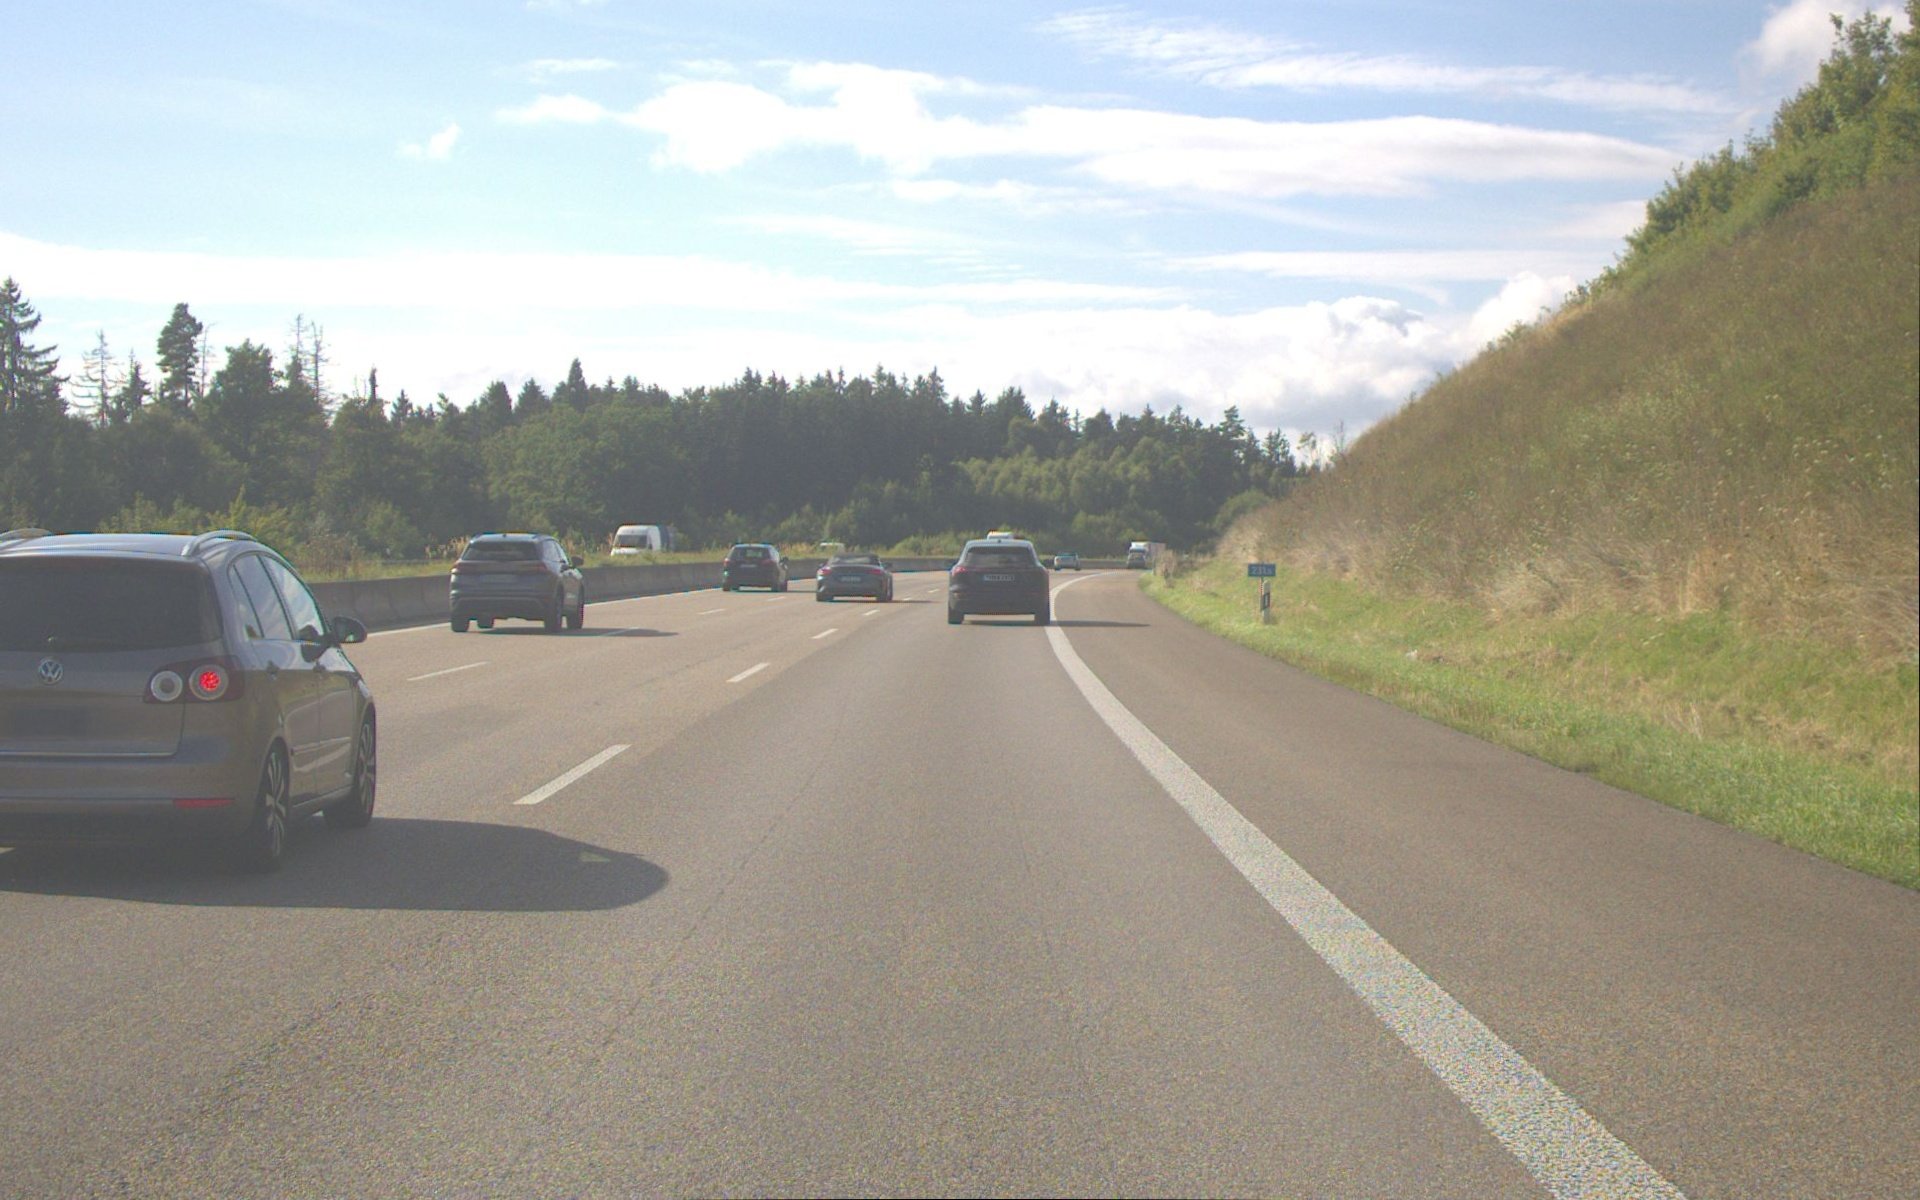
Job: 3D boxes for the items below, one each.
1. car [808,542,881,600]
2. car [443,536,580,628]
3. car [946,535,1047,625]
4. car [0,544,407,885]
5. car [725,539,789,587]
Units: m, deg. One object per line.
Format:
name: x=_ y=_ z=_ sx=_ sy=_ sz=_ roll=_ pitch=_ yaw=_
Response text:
car: x=-3.040 y=-0.783 z=90.965 sx=1.873 sy=1.492 sz=3.880 roll=0 pitch=1 yaw=-1
car: x=-7.562 y=-0.323 z=58.270 sx=1.873 sy=1.492 sz=3.880 roll=0 pitch=1 yaw=-1
car: x=0.678 y=-0.404 z=66.117 sx=1.873 sy=1.669 sz=3.890 roll=0 pitch=1 yaw=0
car: x=-3.967 y=0.474 z=17.095 sx=1.873 sy=1.492 sz=3.880 roll=0 pitch=1 yaw=-1
car: x=-6.385 y=-1.180 z=108.397 sx=1.873 sy=1.492 sz=3.880 roll=0 pitch=1 yaw=-1
